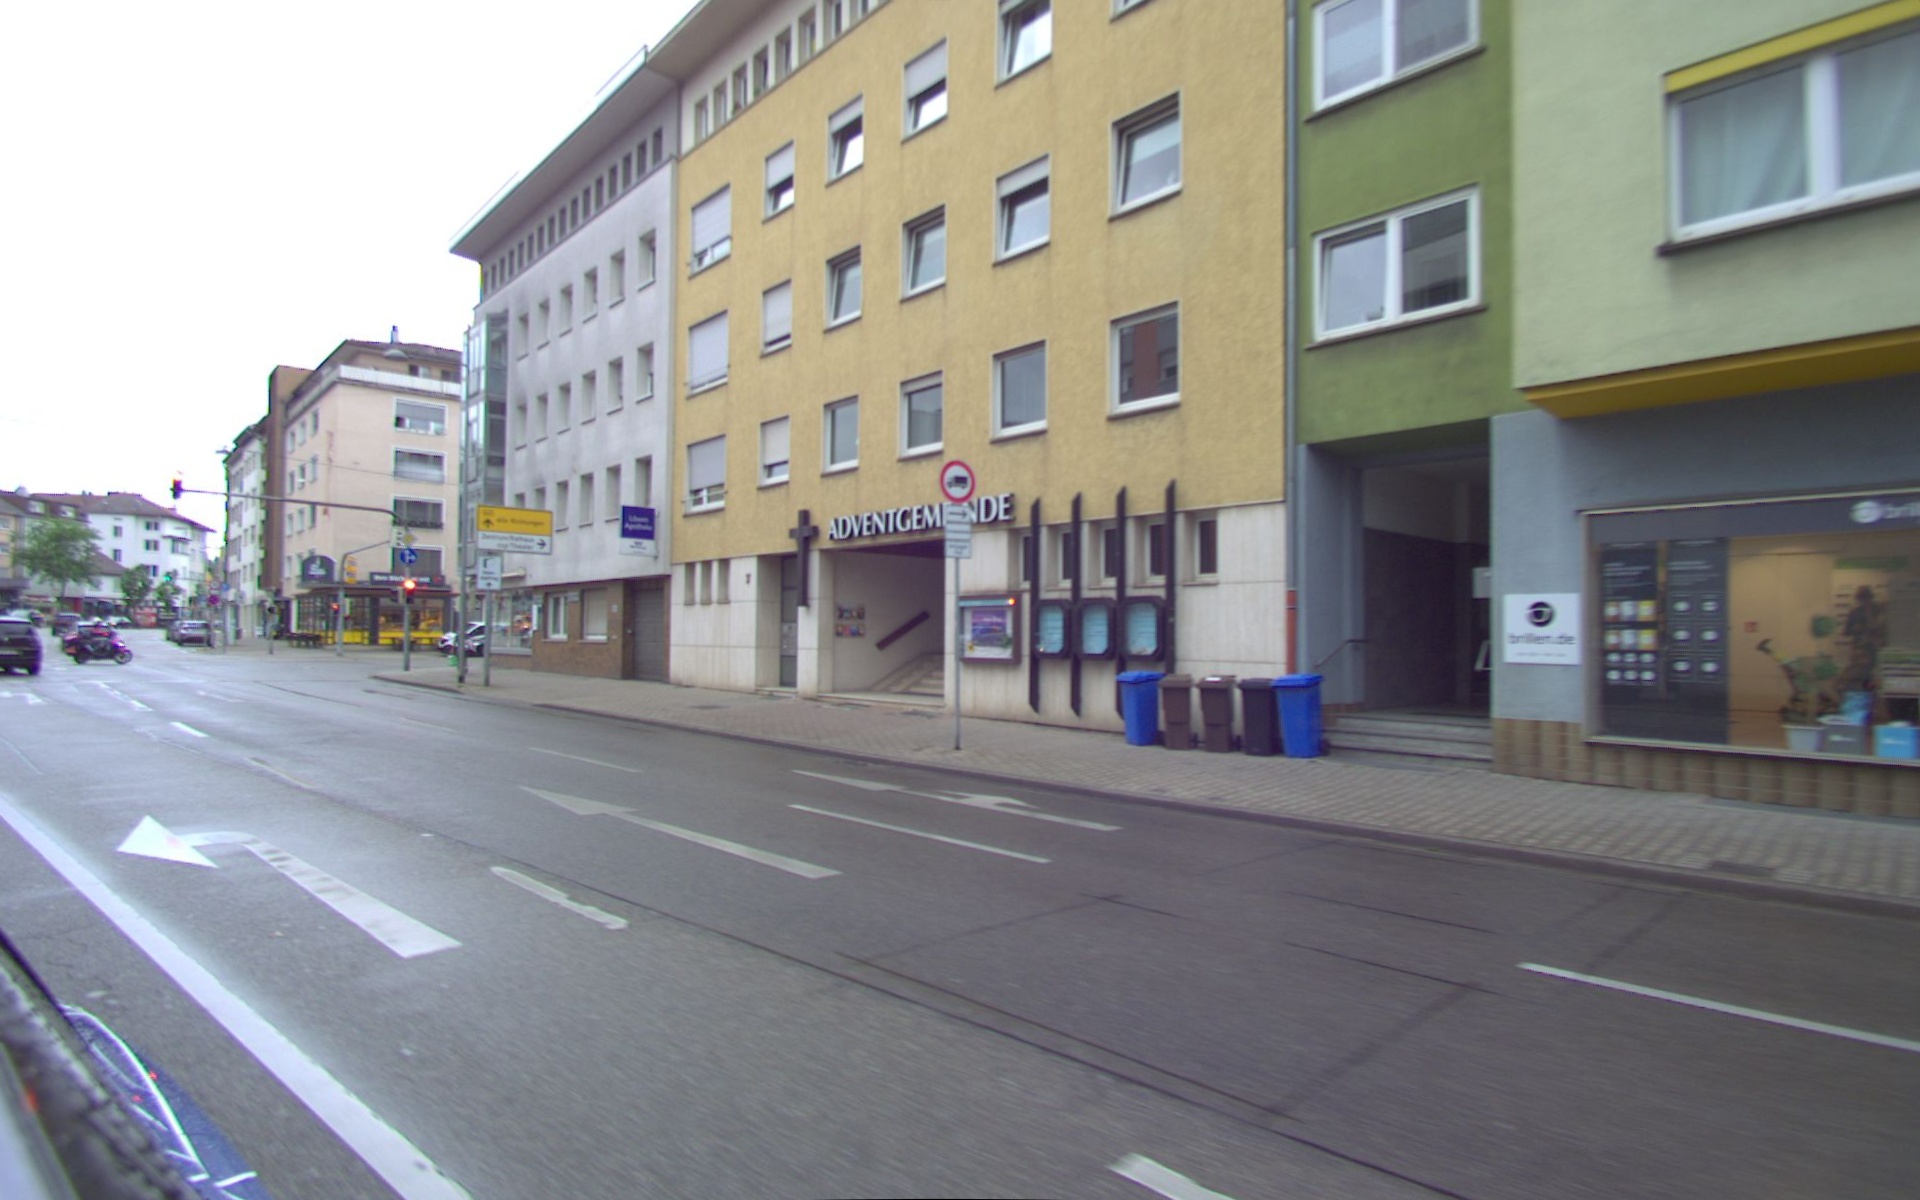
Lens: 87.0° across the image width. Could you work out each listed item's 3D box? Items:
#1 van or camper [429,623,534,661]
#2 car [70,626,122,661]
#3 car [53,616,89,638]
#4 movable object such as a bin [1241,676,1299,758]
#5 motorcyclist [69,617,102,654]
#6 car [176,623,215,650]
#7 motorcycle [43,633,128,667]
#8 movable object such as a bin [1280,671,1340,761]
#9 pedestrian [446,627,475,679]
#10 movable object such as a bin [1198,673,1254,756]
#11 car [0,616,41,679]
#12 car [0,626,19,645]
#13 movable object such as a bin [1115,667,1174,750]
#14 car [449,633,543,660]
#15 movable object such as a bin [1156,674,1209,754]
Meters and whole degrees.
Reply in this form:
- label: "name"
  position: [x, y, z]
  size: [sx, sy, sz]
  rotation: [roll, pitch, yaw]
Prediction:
- label: "van or camper"
  position: [-27.204, 2.387, 57.633]
  size: [4.953, 2.029, 2.002]
  rotation: [2, -1, -43]
- label: "car"
  position: [-40.601, 2.021, 47.511]
  size: [1.723, 1.608, 4.005]
  rotation: [2, -3, -42]
- label: "car"
  position: [-65.107, 1.971, 74.122]
  size: [1.567, 1.539, 3.496]
  rotation: [2, -3, -35]
- label: "movable object such as a bin"
  position: [3.753, 1.401, 12.250]
  size: [0.522, 0.902, 0.435]
  rotation: [-3, 1, -42]
- label: "motorcyclist"
  position: [-31.552, 1.276, 36.513]
  size: [0.859, 1.337, 0.493]
  rotation: [2, -3, -41]
- label: "car"
  position: [-47.869, 2.283, 63.343]
  size: [1.807, 1.634, 4.007]
  rotation: [2, -3, -39]
- label: "motorcycle"
  position: [-31.407, 1.794, 36.394]
  size: [2.257, 1.172, 0.775]
  rotation: [2, -3, -40]
- label: "movable object such as a bin"
  position: [4.120, 1.349, 11.911]
  size: [0.522, 0.968, 0.435]
  rotation: [-3, 1, -42]
- label: "pedestrian"
  position: [-15.772, 1.674, 31.950]
  size: [0.773, 1.600, 0.675]
  rotation: [-1, -1, -28]
- label: "movable object such as a bin"
  position: [3.296, 1.402, 12.535]
  size: [0.521, 0.935, 0.426]
  rotation: [-3, 1, -42]
- label: "car"
  position: [-27.603, 1.317, 28.424]
  size: [3.992, 1.697, 1.857]
  rotation: [-1, -3, 36]
- label: "car"
  position: [-89.754, 3.321, 95.026]
  size: [1.645, 1.785, 4.008]
  rotation: [3, -3, -38]
- label: "movable object such as a bin"
  position: [2.425, 1.414, 13.323]
  size: [0.510, 1.008, 0.524]
  rotation: [-3, 1, -42]
- label: "car"
  position: [-23.949, 2.399, 52.315]
  size: [1.842, 1.300, 4.040]
  rotation: [-1, -3, 43]
- label: "movable object such as a bin"
  position: [2.814, 1.425, 12.784]
  size: [0.458, 0.935, 0.429]
  rotation: [-3, 1, -42]
